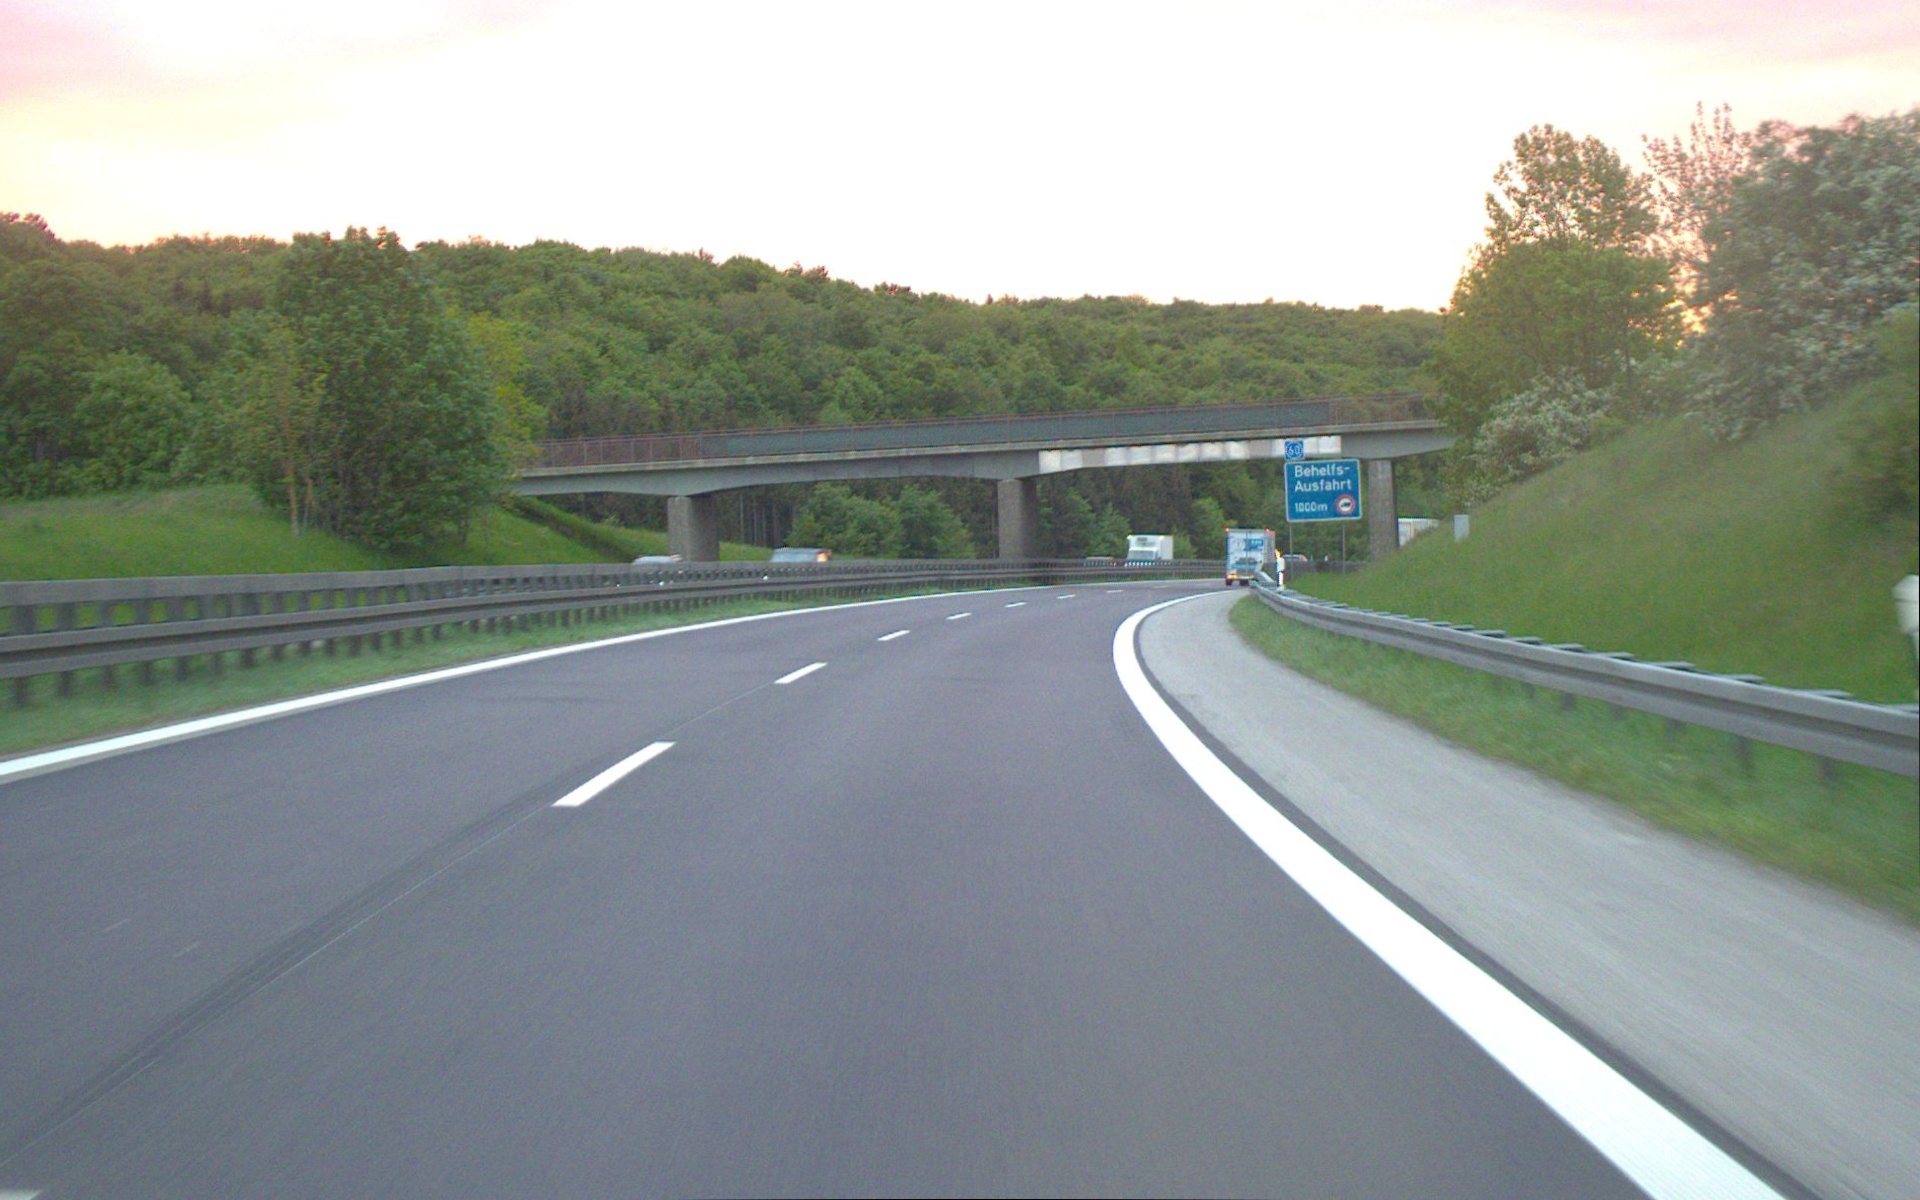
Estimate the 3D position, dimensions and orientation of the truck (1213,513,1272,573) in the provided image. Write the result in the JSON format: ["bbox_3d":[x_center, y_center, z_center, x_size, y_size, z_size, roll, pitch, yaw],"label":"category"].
[{"bbox_3d":[13.321,-2.698,161.832,2.277,2.656,5.234,-1,2,9],"label":"truck"}]

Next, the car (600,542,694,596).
[{"bbox_3d":[-9.956,-1.005,109.712,2.025,1.654,4.670,0,1,7],"label":"car"}]

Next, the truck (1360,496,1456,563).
[{"bbox_3d":[29.819,-4.647,228.073,3.961,4.272,14.312,0,1,17],"label":"truck"}]

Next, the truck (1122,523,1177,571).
[{"bbox_3d":[12.742,-3.570,230.916,2.613,3.099,6.665,1,1,12],"label":"truck"}]
